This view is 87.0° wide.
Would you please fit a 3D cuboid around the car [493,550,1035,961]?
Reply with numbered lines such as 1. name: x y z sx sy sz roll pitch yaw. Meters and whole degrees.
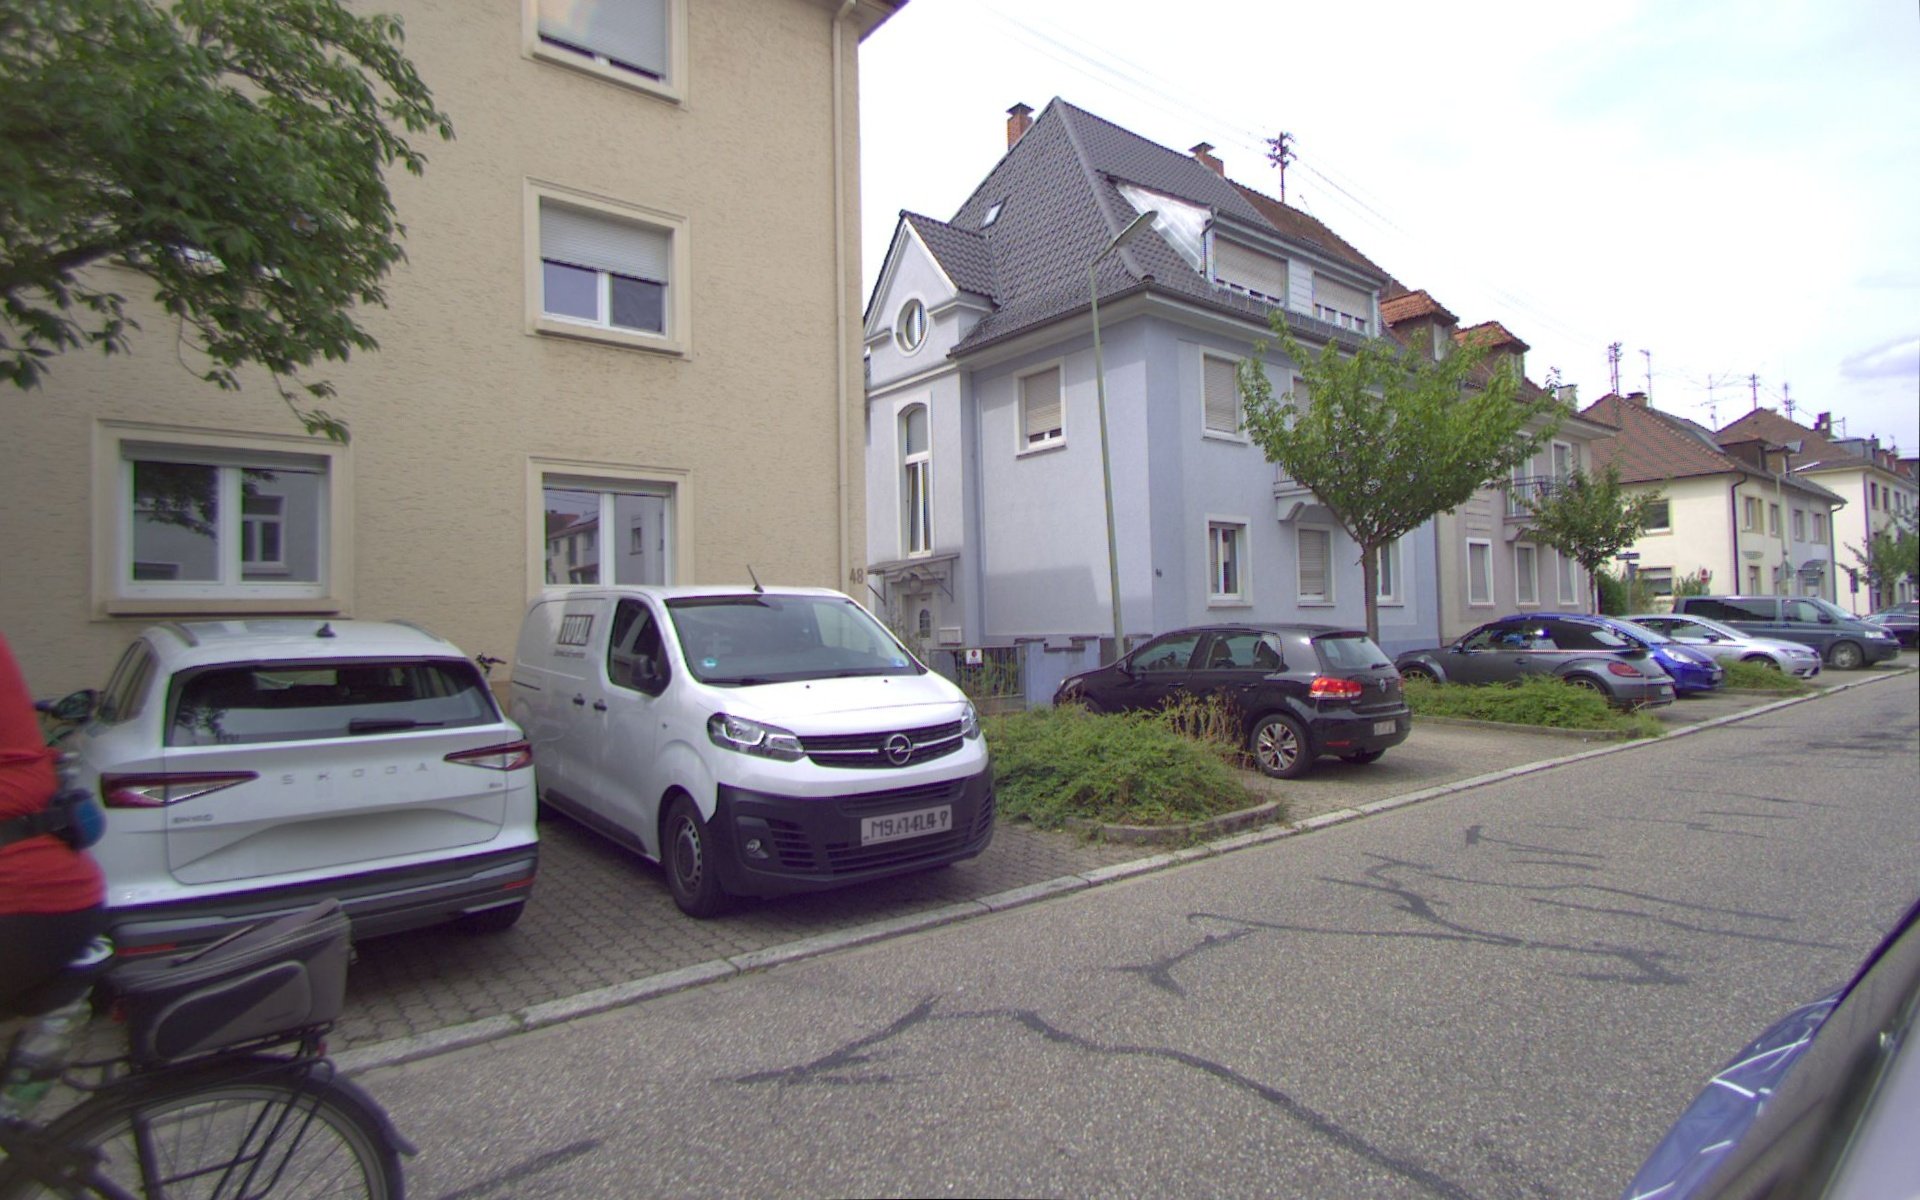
1. car: -1.741 0.712 7.196 1.817 1.934 4.750 0 0 -38

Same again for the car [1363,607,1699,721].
1. car: 8.949 0.897 16.208 1.680 1.519 4.401 0 0 -39

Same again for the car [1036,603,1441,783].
1. car: 2.868 0.839 11.190 1.680 1.556 4.117 0 0 -39

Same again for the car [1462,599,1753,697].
1. car: 12.378 0.822 19.645 1.834 1.632 4.408 0 0 -33

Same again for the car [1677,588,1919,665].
1. car: 22.082 0.628 26.819 1.837 1.850 4.719 0 0 -38

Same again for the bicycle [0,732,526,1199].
1. bicycle: -1.751 0.933 1.528 1.902 1.243 0.693 -1 -2 -39

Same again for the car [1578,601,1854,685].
1. car: 15.977 0.817 21.595 1.837 1.556 4.403 -1 0 -38

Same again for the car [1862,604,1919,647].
1. car: 34.024 0.859 35.418 1.619 1.466 3.436 0 -3 -41

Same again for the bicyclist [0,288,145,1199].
1. bicyclist: -1.829 0.462 1.492 0.968 1.793 0.693 0 -3 -39

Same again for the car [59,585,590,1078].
1. car: -3.742 0.782 5.769 1.817 1.705 4.317 0 0 -38

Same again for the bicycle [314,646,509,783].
1. bicycle: -5.314 1.064 9.860 1.607 1.154 0.480 -1 0 -41
